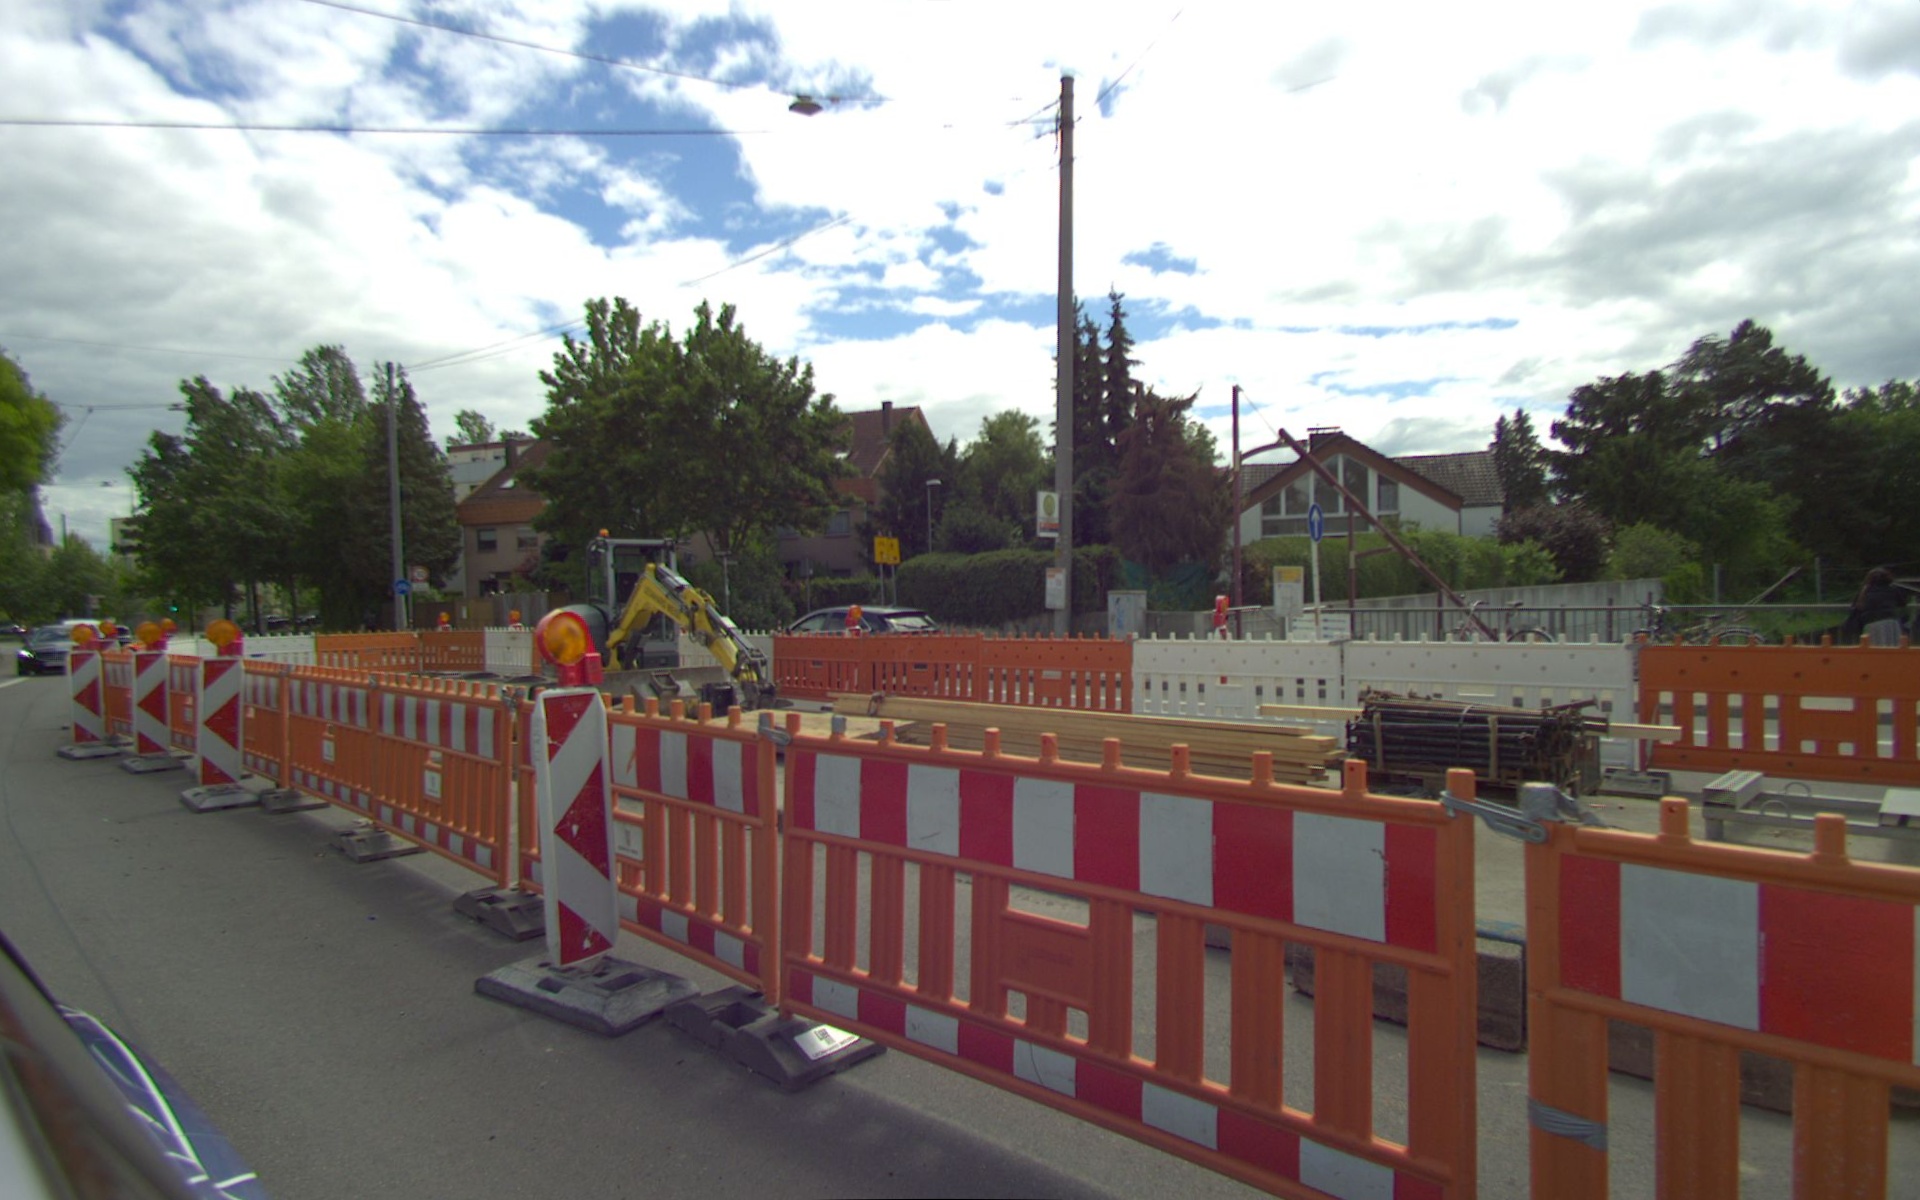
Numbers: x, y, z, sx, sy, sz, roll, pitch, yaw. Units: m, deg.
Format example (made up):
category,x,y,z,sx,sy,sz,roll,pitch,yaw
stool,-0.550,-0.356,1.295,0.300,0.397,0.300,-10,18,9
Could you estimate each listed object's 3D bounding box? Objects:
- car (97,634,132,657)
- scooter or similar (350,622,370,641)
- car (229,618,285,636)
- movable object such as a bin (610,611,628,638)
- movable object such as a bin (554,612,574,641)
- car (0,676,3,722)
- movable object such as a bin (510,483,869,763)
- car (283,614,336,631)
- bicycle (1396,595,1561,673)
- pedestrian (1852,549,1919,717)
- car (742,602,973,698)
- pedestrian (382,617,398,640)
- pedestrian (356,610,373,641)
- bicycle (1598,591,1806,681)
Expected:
category,x,y,z,sx,sy,sz,roll,pitch,yaw
car,-60.555,3.221,72.477,1.673,1.524,4.004,-1,0,-43
scooter or similar,-29.195,1.530,49.271,0.628,0.871,1.031,-3,1,-41
car,-66.896,2.570,96.368,1.985,1.519,3.974,-2,1,20
movable object such as a bin,-12.628,0.910,37.511,0.524,0.985,0.374,-1,0,32
movable object such as a bin,-14.217,0.965,36.325,0.495,1.018,0.470,-1,0,45
car,-12.928,0.768,11.946,1.969,2.028,5.522,-4,2,-40
movable object such as a bin,-3.764,0.246,12.751,1.968,2.645,6.536,-1,0,-38
car,-65.077,2.223,101.322,1.986,1.519,3.971,-2,1,22
bicycle,7.724,0.497,15.173,0.532,1.091,2.133,-1,0,-45
pedestrian,10.910,0.377,11.903,0.585,1.900,0.672,-1,0,42
car,-2.002,0.849,18.726,4.443,1.524,1.833,-1,0,45
pedestrian,-27.840,1.369,49.422,0.548,1.094,0.642,-3,1,-42
pedestrian,-28.622,1.219,48.641,0.548,1.492,0.642,-3,1,-42
bicycle,9.683,0.451,13.293,0.532,1.091,2.133,-1,0,-45
